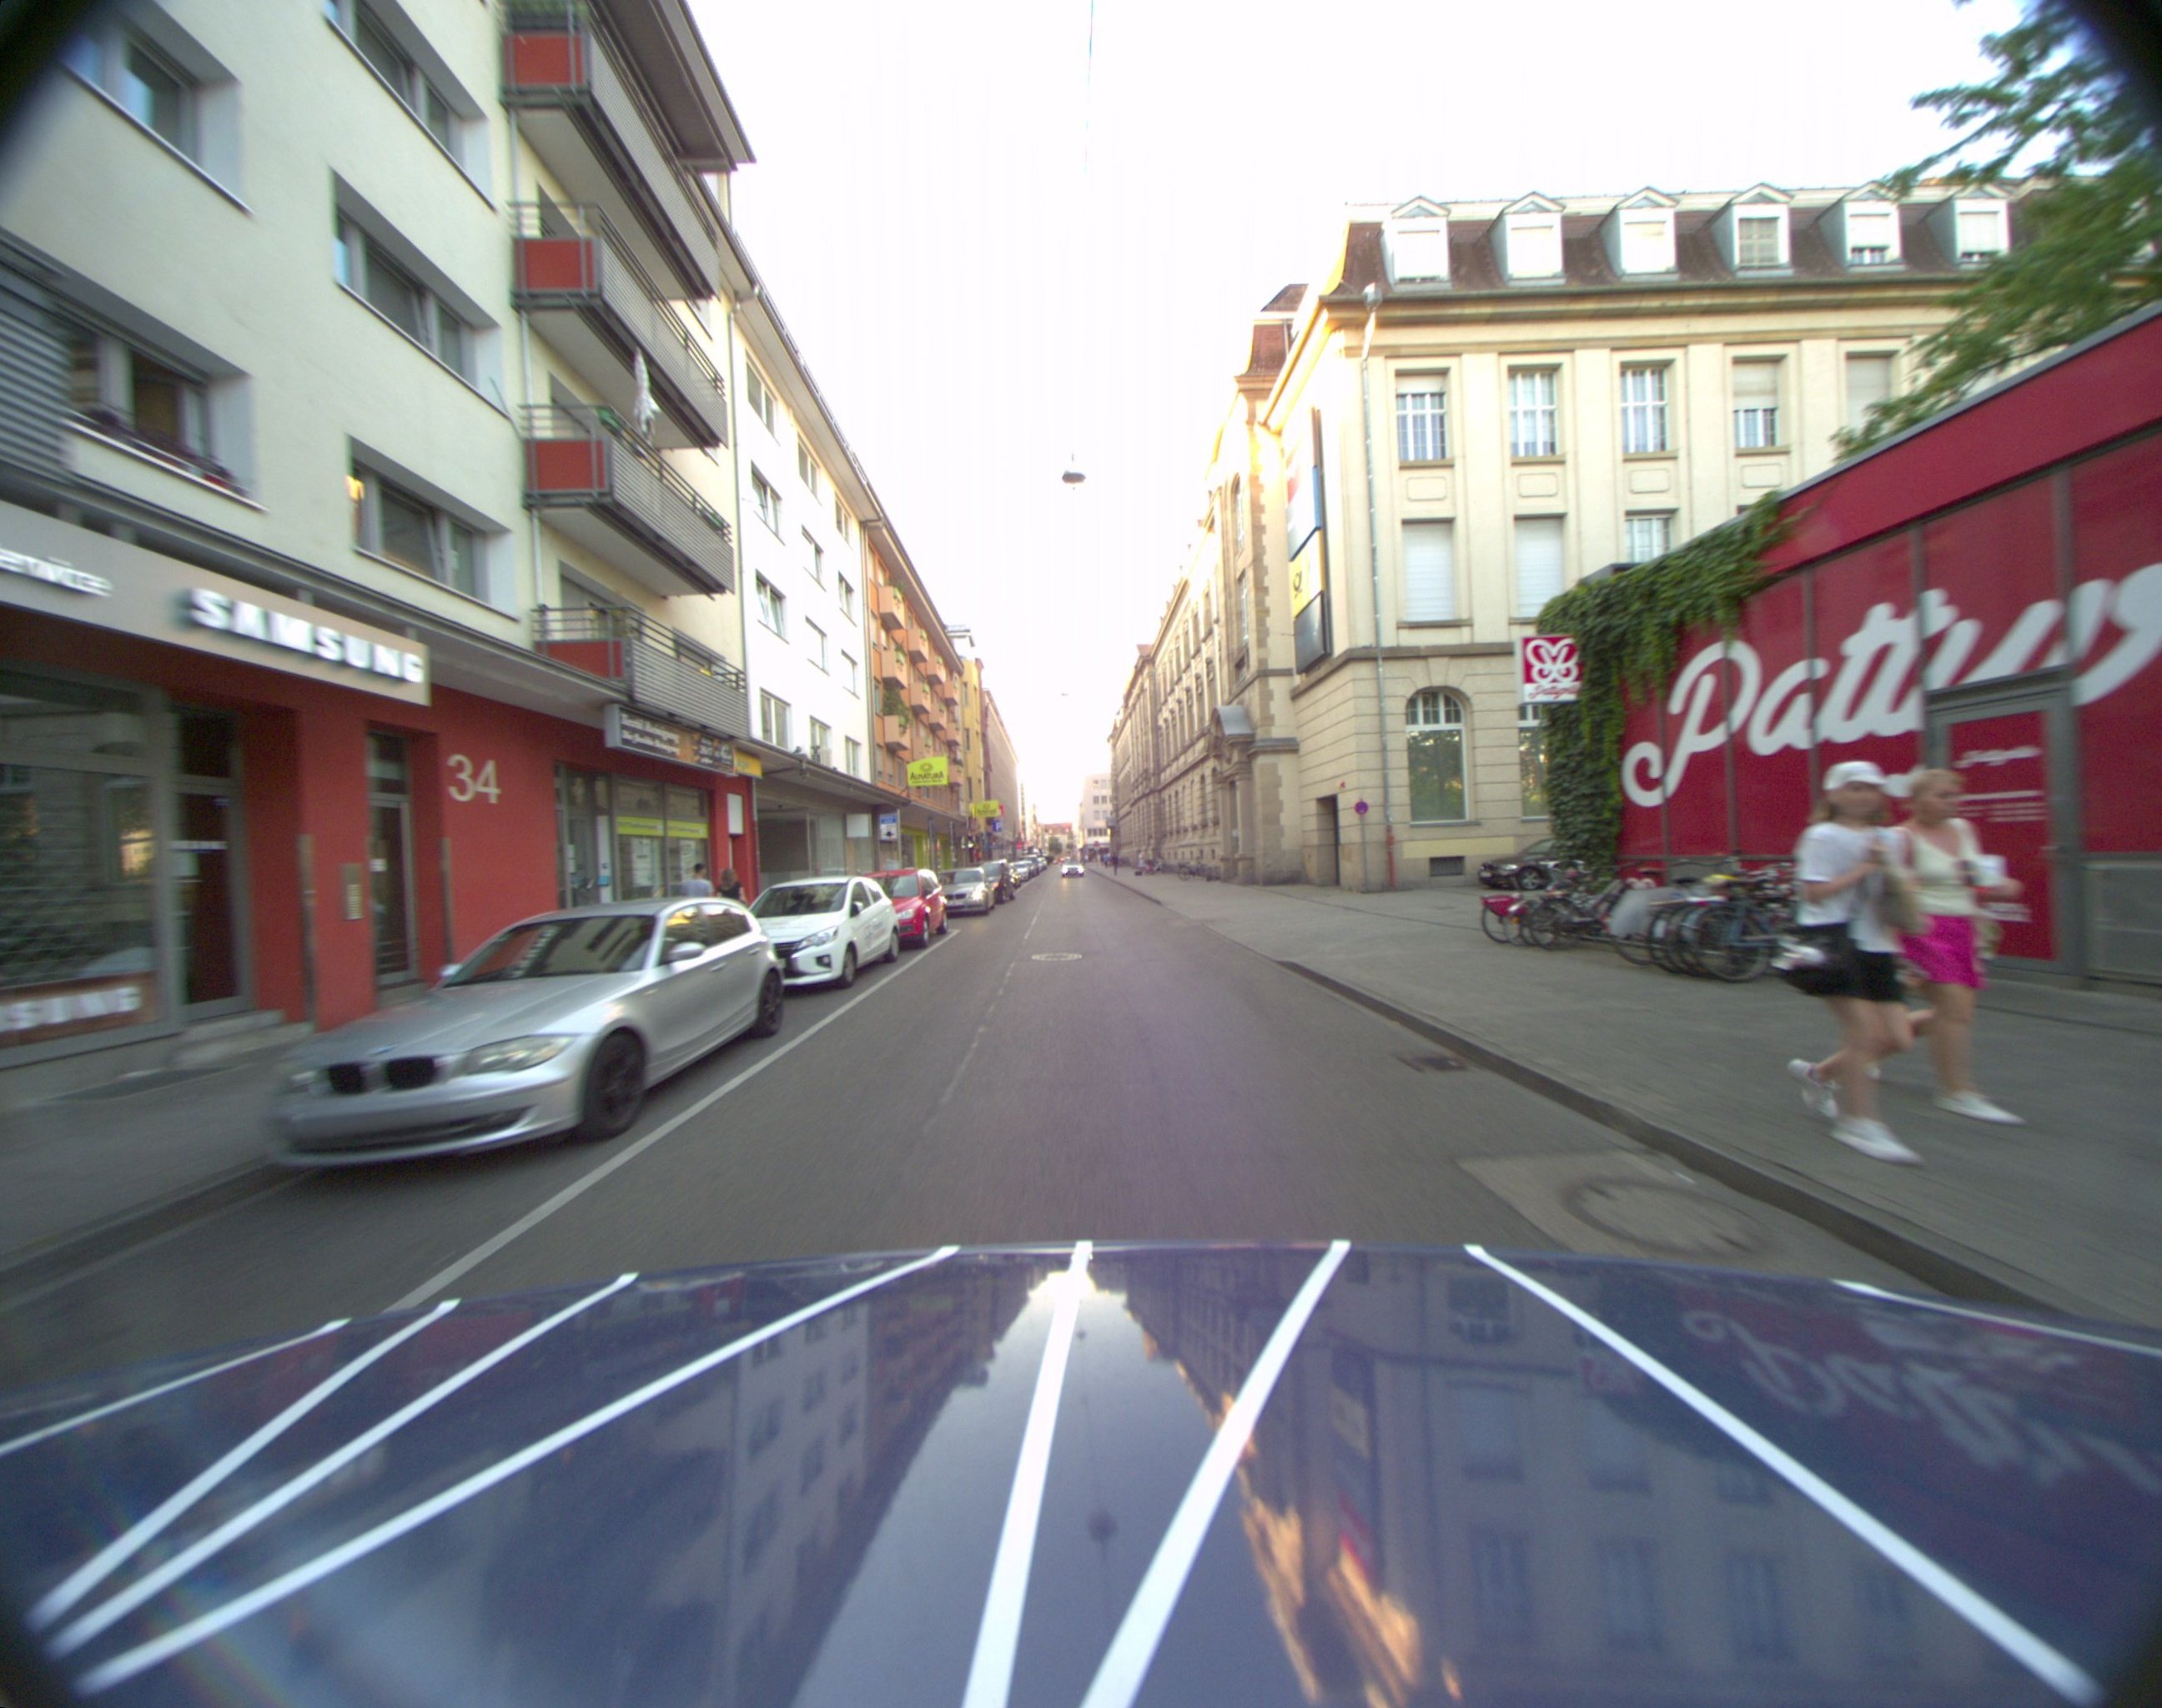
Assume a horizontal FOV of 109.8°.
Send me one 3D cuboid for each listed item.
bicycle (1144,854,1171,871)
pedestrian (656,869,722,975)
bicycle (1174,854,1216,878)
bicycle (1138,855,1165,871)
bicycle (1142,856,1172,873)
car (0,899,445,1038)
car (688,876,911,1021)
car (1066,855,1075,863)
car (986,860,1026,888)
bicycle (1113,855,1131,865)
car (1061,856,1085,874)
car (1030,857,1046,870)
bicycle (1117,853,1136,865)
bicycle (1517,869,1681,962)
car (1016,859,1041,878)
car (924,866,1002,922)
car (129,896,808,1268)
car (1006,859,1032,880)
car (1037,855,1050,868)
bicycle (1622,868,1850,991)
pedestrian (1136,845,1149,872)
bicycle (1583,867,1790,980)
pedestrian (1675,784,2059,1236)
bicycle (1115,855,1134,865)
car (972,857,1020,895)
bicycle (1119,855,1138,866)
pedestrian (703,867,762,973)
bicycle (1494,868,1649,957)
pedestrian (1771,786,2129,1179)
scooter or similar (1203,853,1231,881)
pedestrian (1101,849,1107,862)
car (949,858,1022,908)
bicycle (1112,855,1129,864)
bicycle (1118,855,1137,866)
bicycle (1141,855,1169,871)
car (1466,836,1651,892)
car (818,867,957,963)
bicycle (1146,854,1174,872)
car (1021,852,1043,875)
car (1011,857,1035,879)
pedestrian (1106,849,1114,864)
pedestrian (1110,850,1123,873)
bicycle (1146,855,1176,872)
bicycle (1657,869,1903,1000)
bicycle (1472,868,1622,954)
[{"bbox_3d":[5.548,0.623,55.216,1.800,1.101,0.500,-4,1,-7],"label":"bicycle"},{"bbox_3d":[-6.366,1.078,12.379,0.649,1.651,0.794,0,1,1],"label":"pedestrian"},{"bbox_3d":[5.900,0.616,39.300,1.944,1.055,0.619,-6,1,-15],"label":"bicycle"},{"bbox_3d":[5.472,0.696,58.683,1.942,1.055,0.619,-4,1,-2],"label":"bicycle"},{"bbox_3d":[5.211,0.716,52.156,1.942,1.055,0.619,-4,1,-3],"label":"bicycle"},{"bbox_3d":[-11.633,1.446,10.789,1.744,1.329,4.000,-2,0,1],"label":"car"},{"bbox_3d":[-3.814,1.190,11.094,1.610,1.503,4.048,-5,0,0],"label":"car"},{"bbox_3d":[-2.230,1.085,166.611,1.824,1.728,3.999,-2,0,-2],"label":"car"},{"bbox_3d":[-4.207,1.086,43.078,1.696,1.406,4.756,-5,0,0],"label":"car"},{"bbox_3d":[4.987,0.703,92.121,1.943,1.072,0.730,-5,1,-8],"label":"bicycle"},{"bbox_3d":[-0.684,0.914,61.733,1.741,1.407,4.681,0,-1,-2],"label":"car"},{"bbox_3d":[-5.094,1.117,90.225,1.661,1.439,4.307,-4,1,-1],"label":"car"},{"bbox_3d":[5.063,0.558,83.952,1.942,1.072,0.748,-5,1,-2],"label":"bicycle"},{"bbox_3d":[6.799,0.795,10.011,1.799,1.101,0.500,-3,0,-2],"label":"bicycle"},{"bbox_3d":[-4.571,1.204,66.211,1.691,1.444,4.498,-5,0,0],"label":"car"},{"bbox_3d":[-3.537,1.150,23.495,1.741,1.407,4.681,-5,0,-2],"label":"car"},{"bbox_3d":[-3.758,1.223,5.918,1.703,1.443,4.458,-5,0,-3],"label":"car"},{"bbox_3d":[-4.529,1.121,55.926,1.696,1.403,4.638,-5,0,-3],"label":"car"},{"bbox_3d":[-5.314,1.001,107.227,1.781,1.656,4.811,-4,1,-3],"label":"car"},{"bbox_3d":[6.627,0.751,7.736,1.798,1.101,0.500,-3,0,2],"label":"bicycle"},{"bbox_3d":[4.340,0.333,53.655,0.589,1.840,0.754,-4,0,-6],"label":"pedestrian"},{"bbox_3d":[6.635,0.747,8.368,1.798,1.101,0.500,-3,0,2],"label":"bicycle"},{"bbox_3d":[3.469,0.613,3.470,0.650,1.740,0.985,-3,0,-1],"label":"pedestrian"},{"bbox_3d":[5.000,0.703,87.307,1.943,1.072,0.730,-5,1,-8],"label":"bicycle"},{"bbox_3d":[-4.168,1.060,38.109,1.756,1.658,4.756,-5,0,0],"label":"car"},{"bbox_3d":[5.163,0.714,83.036,1.941,1.040,0.721,-4,0,-5],"label":"bicycle"},{"bbox_3d":[-5.662,1.052,12.363,0.649,1.651,0.655,0,1,1],"label":"pedestrian"},{"bbox_3d":[6.789,0.797,10.547,1.799,1.101,0.500,-3,0,-2],"label":"bicycle"},{"bbox_3d":[4.342,0.586,3.881,0.755,1.739,0.846,-4,0,-1],"label":"pedestrian"},{"bbox_3d":[6.352,0.601,35.517,1.137,1.225,0.496,-4,1,-13],"label":"scooter or similar"},{"bbox_3d":[3.285,0.241,109.169,0.778,1.778,0.820,-4,0,-3],"label":"pedestrian"},{"bbox_3d":[-3.528,1.042,28.871,1.798,1.600,4.487,-5,0,4],"label":"car"},{"bbox_3d":[4.949,0.703,95.636,1.943,1.072,0.730,-5,1,-8],"label":"bicycle"},{"bbox_3d":[5.185,0.691,85.223,1.943,1.072,0.730,-5,1,-8],"label":"bicycle"},{"bbox_3d":[5.609,0.683,57.437,1.943,1.055,0.619,-4,1,-7],"label":"bicycle"},{"bbox_3d":[13.161,0.265,21.090,4.015,1.363,1.750,-2,0,-2],"label":"car"},{"bbox_3d":[-3.768,1.098,15.628,1.717,1.503,4.651,-5,0,-2],"label":"car"},{"bbox_3d":[5.620,0.644,54.017,1.800,1.101,0.500,-4,1,-7],"label":"bicycle"},{"bbox_3d":[-4.686,0.881,73.297,1.851,2.046,5.053,-4,1,-1],"label":"car"},{"bbox_3d":[-4.609,1.103,61.097,1.622,1.507,4.173,-5,0,-2],"label":"car"},{"bbox_3d":[3.481,0.294,90.554,0.831,1.735,0.769,-5,0,-1],"label":"pedestrian"},{"bbox_3d":[2.717,0.570,58.746,0.811,1.740,0.969,-4,1,-1],"label":"pedestrian"},{"bbox_3d":[5.626,0.667,53.203,1.943,1.055,0.619,-4,1,-7],"label":"bicycle"},{"bbox_3d":[6.640,0.752,7.266,1.798,1.101,0.500,-3,0,2],"label":"bicycle"},{"bbox_3d":[6.655,0.804,10.891,1.799,1.101,0.500,-3,0,-1],"label":"bicycle"}]
